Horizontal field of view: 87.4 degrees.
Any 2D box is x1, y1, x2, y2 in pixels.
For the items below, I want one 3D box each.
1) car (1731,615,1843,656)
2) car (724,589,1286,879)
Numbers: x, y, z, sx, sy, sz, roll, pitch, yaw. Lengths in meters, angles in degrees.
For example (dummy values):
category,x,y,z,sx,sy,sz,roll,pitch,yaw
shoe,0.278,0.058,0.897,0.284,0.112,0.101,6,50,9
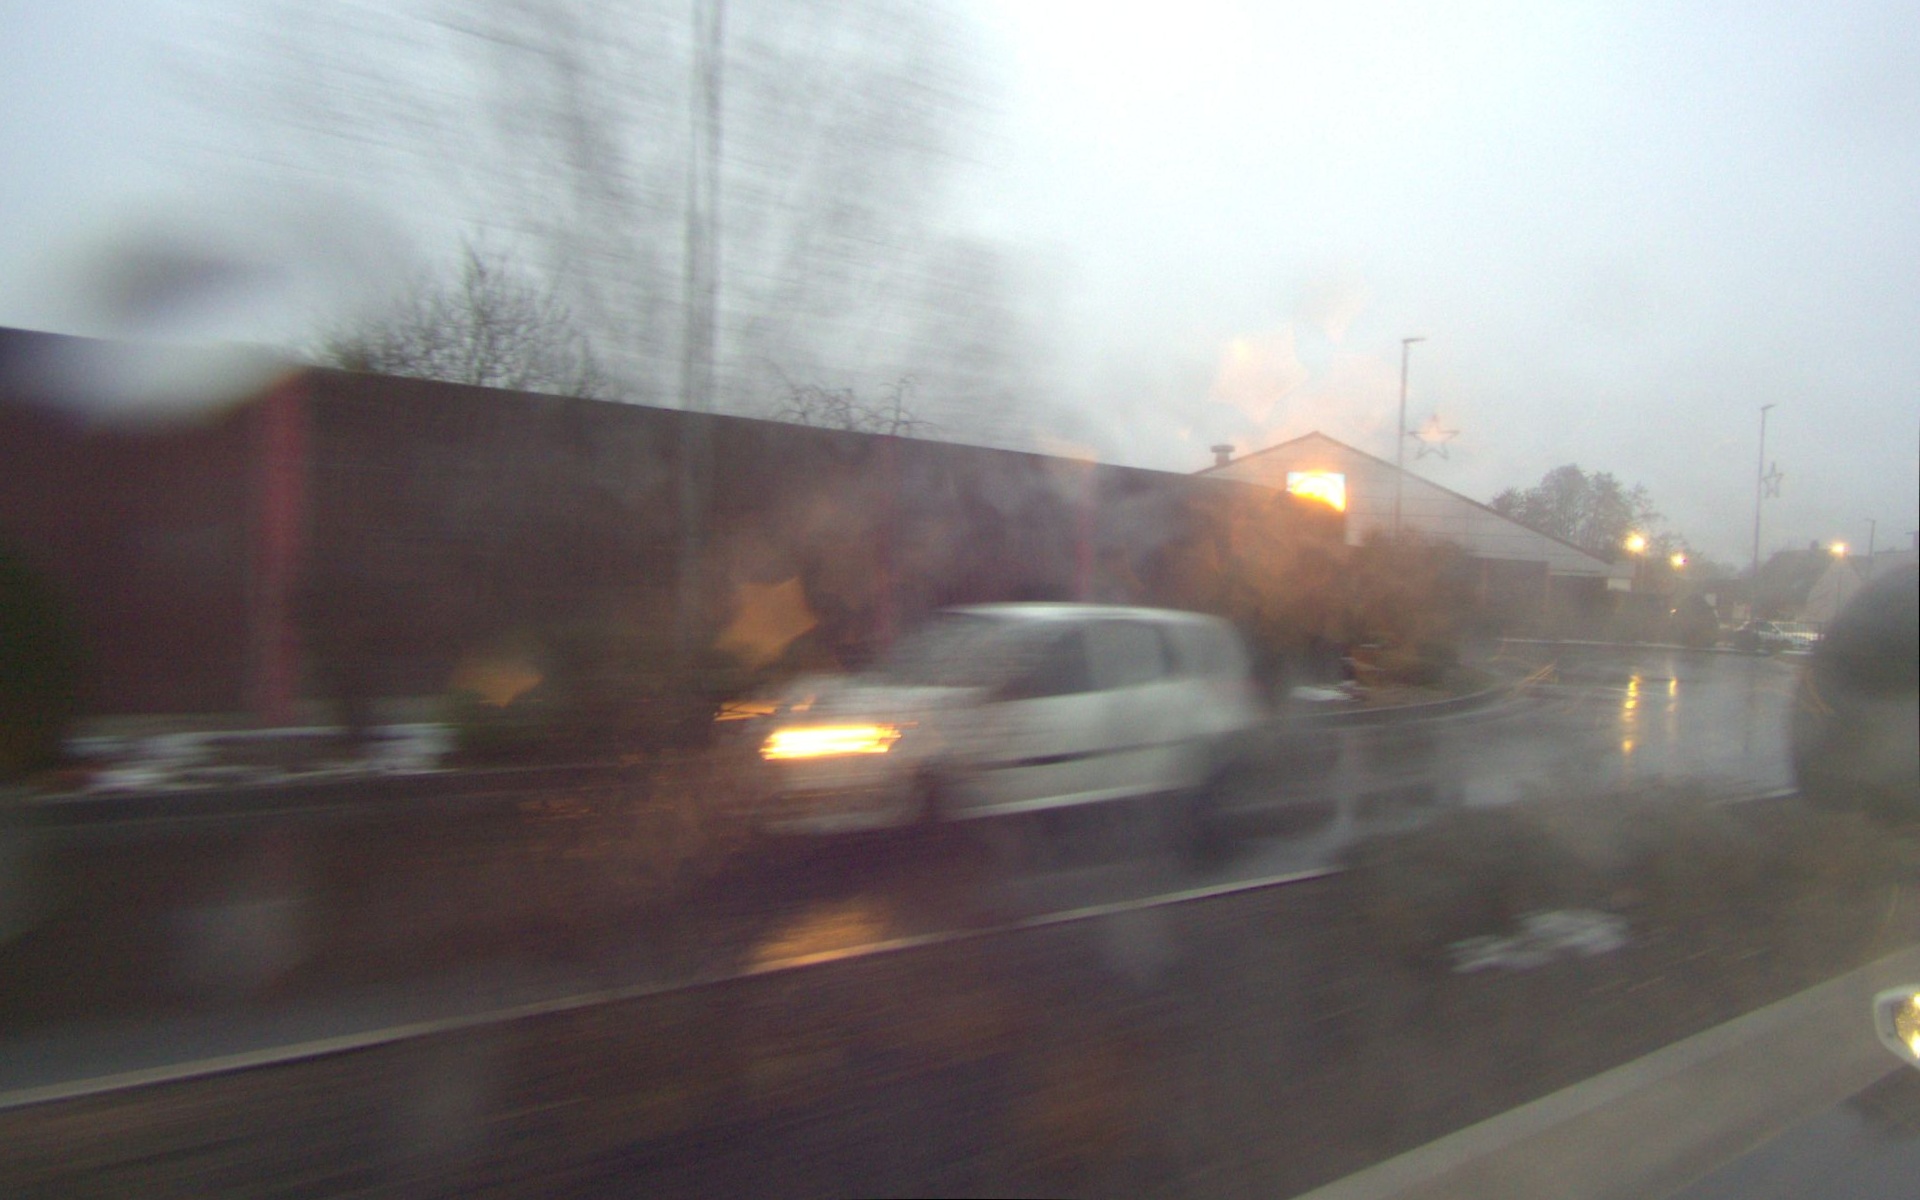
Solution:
category,x,y,z,sx,sy,sz,roll,pitch,yaw
car,39.953,1.674,48.665,2.023,1.582,4.282,4,2,5
car,0.416,0.721,6.918,3.649,1.489,1.596,1,1,-35
